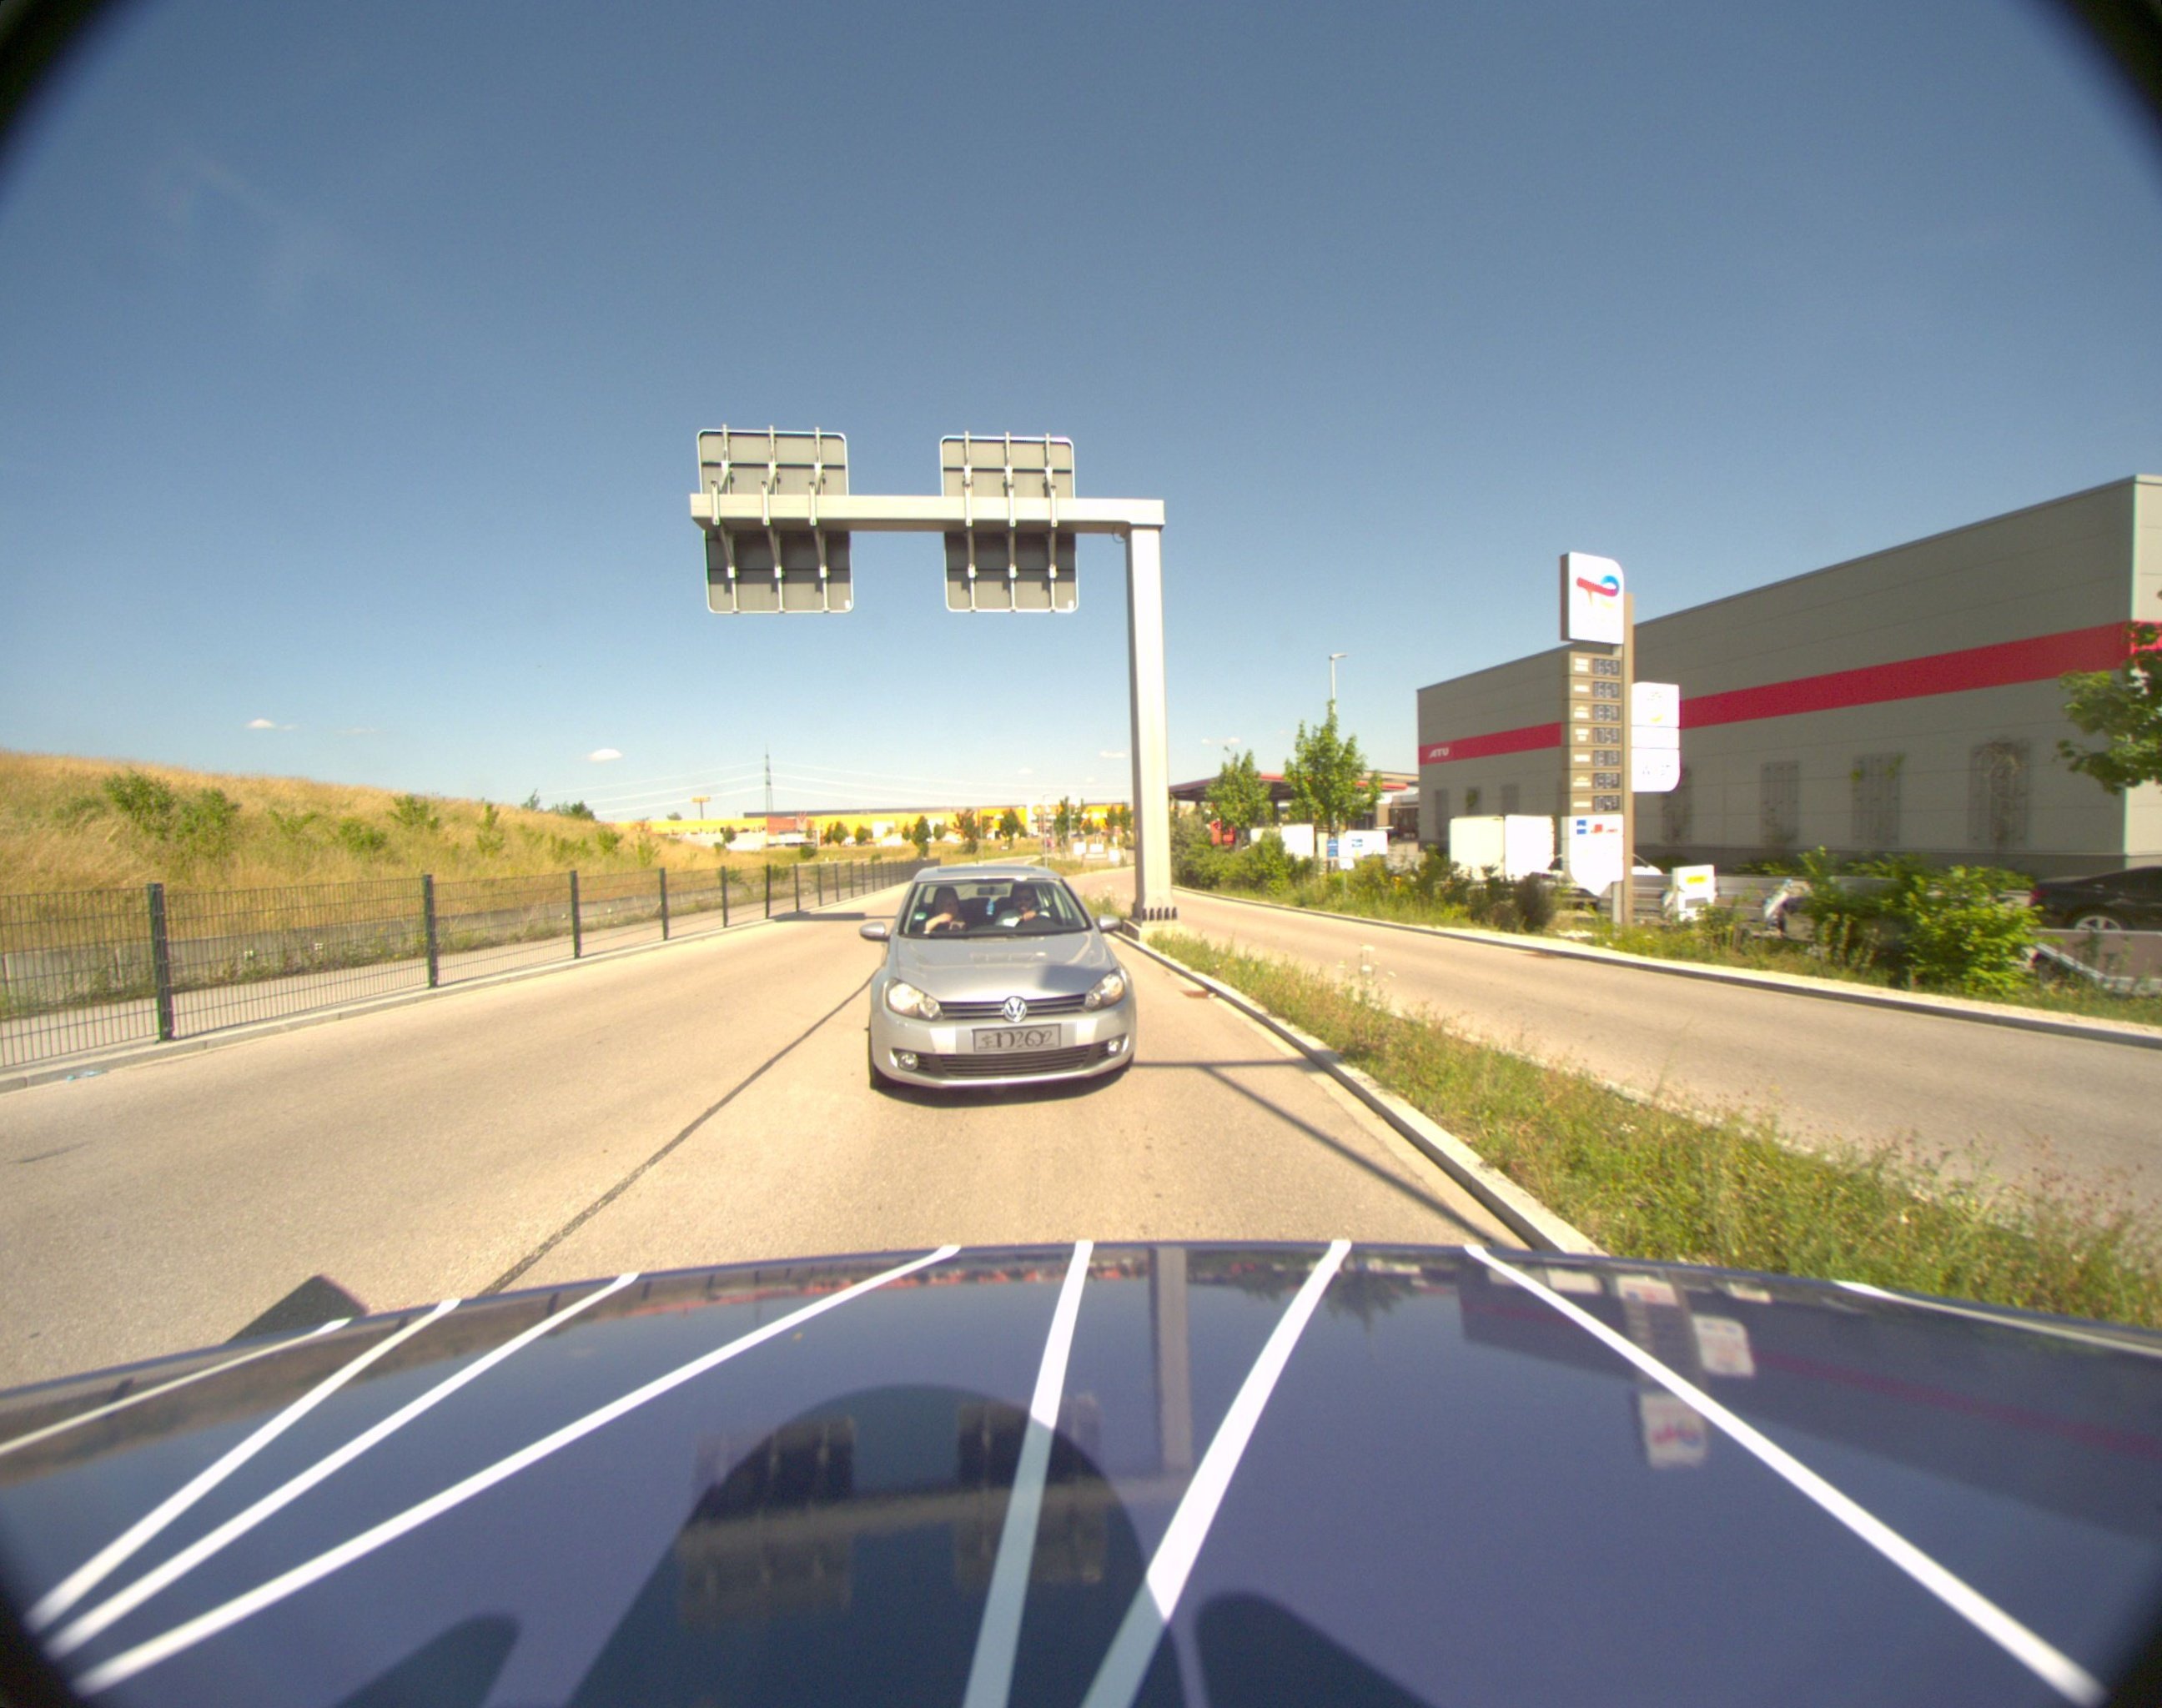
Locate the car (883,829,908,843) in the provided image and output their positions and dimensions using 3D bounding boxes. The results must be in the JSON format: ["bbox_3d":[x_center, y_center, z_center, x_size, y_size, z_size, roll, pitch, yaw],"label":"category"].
[{"bbox_3d":[-36.583,-3.626,149.899,4.637,2.534,1.998,-3,2,-11],"label":"car"}]

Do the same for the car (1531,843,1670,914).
[{"bbox_3d":[13.540,0.562,19.729,4.006,1.527,1.714,-4,2,-36],"label":"car"}]

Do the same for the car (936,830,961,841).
[{"bbox_3d":[-26.448,-3.732,151.463,4.637,2.002,1.998,-3,2,-11],"label":"car"}]

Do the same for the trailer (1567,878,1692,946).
[{"bbox_3d":[11.347,1.129,15.670,2.780,1.080,1.317,-4,2,-37],"label":"trailer"}]

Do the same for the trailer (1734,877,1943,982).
[{"bbox_3d":[12.311,1.149,12.362,2.915,1.314,1.387,-3,2,-22],"label":"trailer"}]

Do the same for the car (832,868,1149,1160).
[{"bbox_3d":[-0.745,0.909,6.199,1.747,1.459,3.957,0,1,-8],"label":"car"}]

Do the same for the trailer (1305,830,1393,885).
[{"bbox_3d":[10.673,0.109,30.289,2.741,2.002,1.995,-4,2,-34],"label":"trailer"}]

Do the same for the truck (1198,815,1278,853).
[{"bbox_3d":[14.789,-1.884,71.740,6.910,3.299,2.637,-3,2,-17],"label":"truck"}]

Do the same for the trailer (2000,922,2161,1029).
[{"bbox_3d":[13.419,1.517,9.871,2.842,0.877,1.861,-4,2,-39],"label":"trailer"}]

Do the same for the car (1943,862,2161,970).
[{"bbox_3d":[16.850,0.945,11.702,1.803,1.475,4.494,-3,1,-6],"label":"car"}]

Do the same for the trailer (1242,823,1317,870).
[{"bbox_3d":[9.274,-0.365,35.400,1.994,2.002,3.212,-1,2,44],"label":"trailer"}]

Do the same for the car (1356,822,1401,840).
[{"bbox_3d":[29.191,-2.250,74.654,3.683,1.566,1.695,-3,2,-1],"label":"car"}]

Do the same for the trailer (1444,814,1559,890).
[{"bbox_3d":[12.299,-0.104,22.173,3.245,2.002,1.743,-4,2,-38],"label":"trailer"}]

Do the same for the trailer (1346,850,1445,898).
[{"bbox_3d":[11.528,0.695,27.792,3.605,1.502,1.596,-3,1,-34],"label":"trailer"}]

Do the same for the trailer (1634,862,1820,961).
[{"bbox_3d":[11.993,0.975,14.096,3.195,1.475,1.545,-3,2,-28],"label":"trailer"}]
